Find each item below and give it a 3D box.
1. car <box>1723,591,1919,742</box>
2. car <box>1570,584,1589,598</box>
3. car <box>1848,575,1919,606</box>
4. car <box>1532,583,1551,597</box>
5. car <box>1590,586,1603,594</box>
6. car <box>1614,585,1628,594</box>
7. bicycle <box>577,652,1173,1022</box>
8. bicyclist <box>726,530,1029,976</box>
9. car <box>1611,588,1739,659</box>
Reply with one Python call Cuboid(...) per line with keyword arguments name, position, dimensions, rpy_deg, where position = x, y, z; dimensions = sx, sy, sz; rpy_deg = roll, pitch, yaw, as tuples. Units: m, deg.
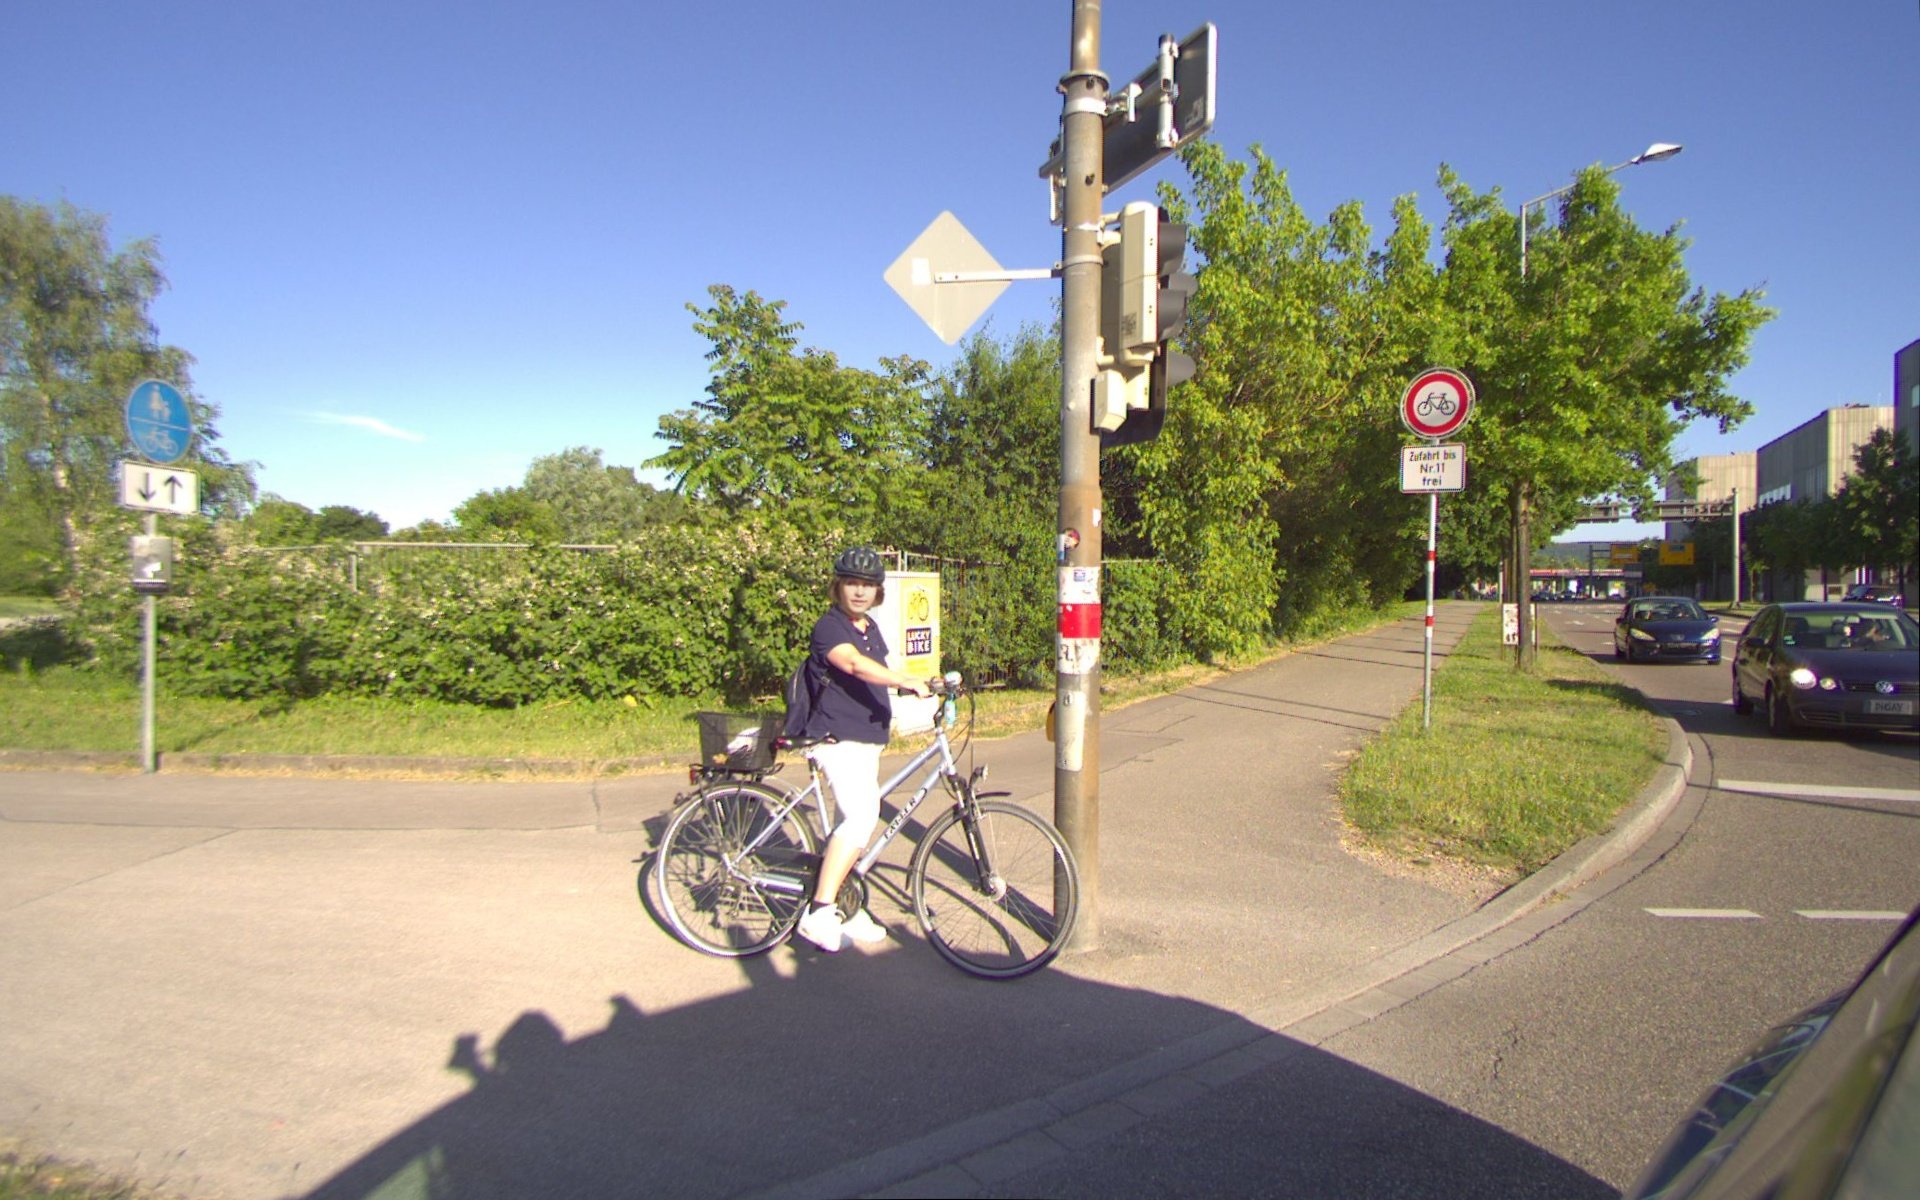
Cuboid(name="car", position=(10.515, 0.644, 12.099), dimensions=(1.624, 1.486, 4.498), rpy_deg=(0, 0, 30))
Cuboid(name="car", position=(79.968, -1.207, 130.608), dimensions=(1.985, 1.709, 3.954), rpy_deg=(0, 1, 33))
Cuboid(name="car", position=(54.970, -0.625, 60.342), dimensions=(1.982, 1.760, 4.692), rpy_deg=(0, 1, 28))
Cuboid(name="car", position=(75.299, -1.331, 131.043), dimensions=(1.985, 1.709, 3.954), rpy_deg=(0, 1, 33))
Cuboid(name="car", position=(136.170, -2.220, 216.519), dimensions=(1.982, 1.598, 3.960), rpy_deg=(0, 1, 29))
Cuboid(name="car", position=(128.655, -2.040, 197.112), dimensions=(1.982, 1.598, 3.960), rpy_deg=(0, 1, 29))
Cuboid(name="bicycle", position=(-0.305, 0.858, 4.087), dimensions=(2.178, 1.169, 0.875), rpy_deg=(1, 2, 7))
Cuboid(name="bicyclist", position=(-0.280, 0.524, 4.082), dimensions=(1.069, 1.581, 0.875), rpy_deg=(1, 2, 6))
Cuboid(name="car", position=(16.498, 0.493, 23.552), dimensions=(1.740, 1.472, 3.965), rpy_deg=(-2, 0, 26))
